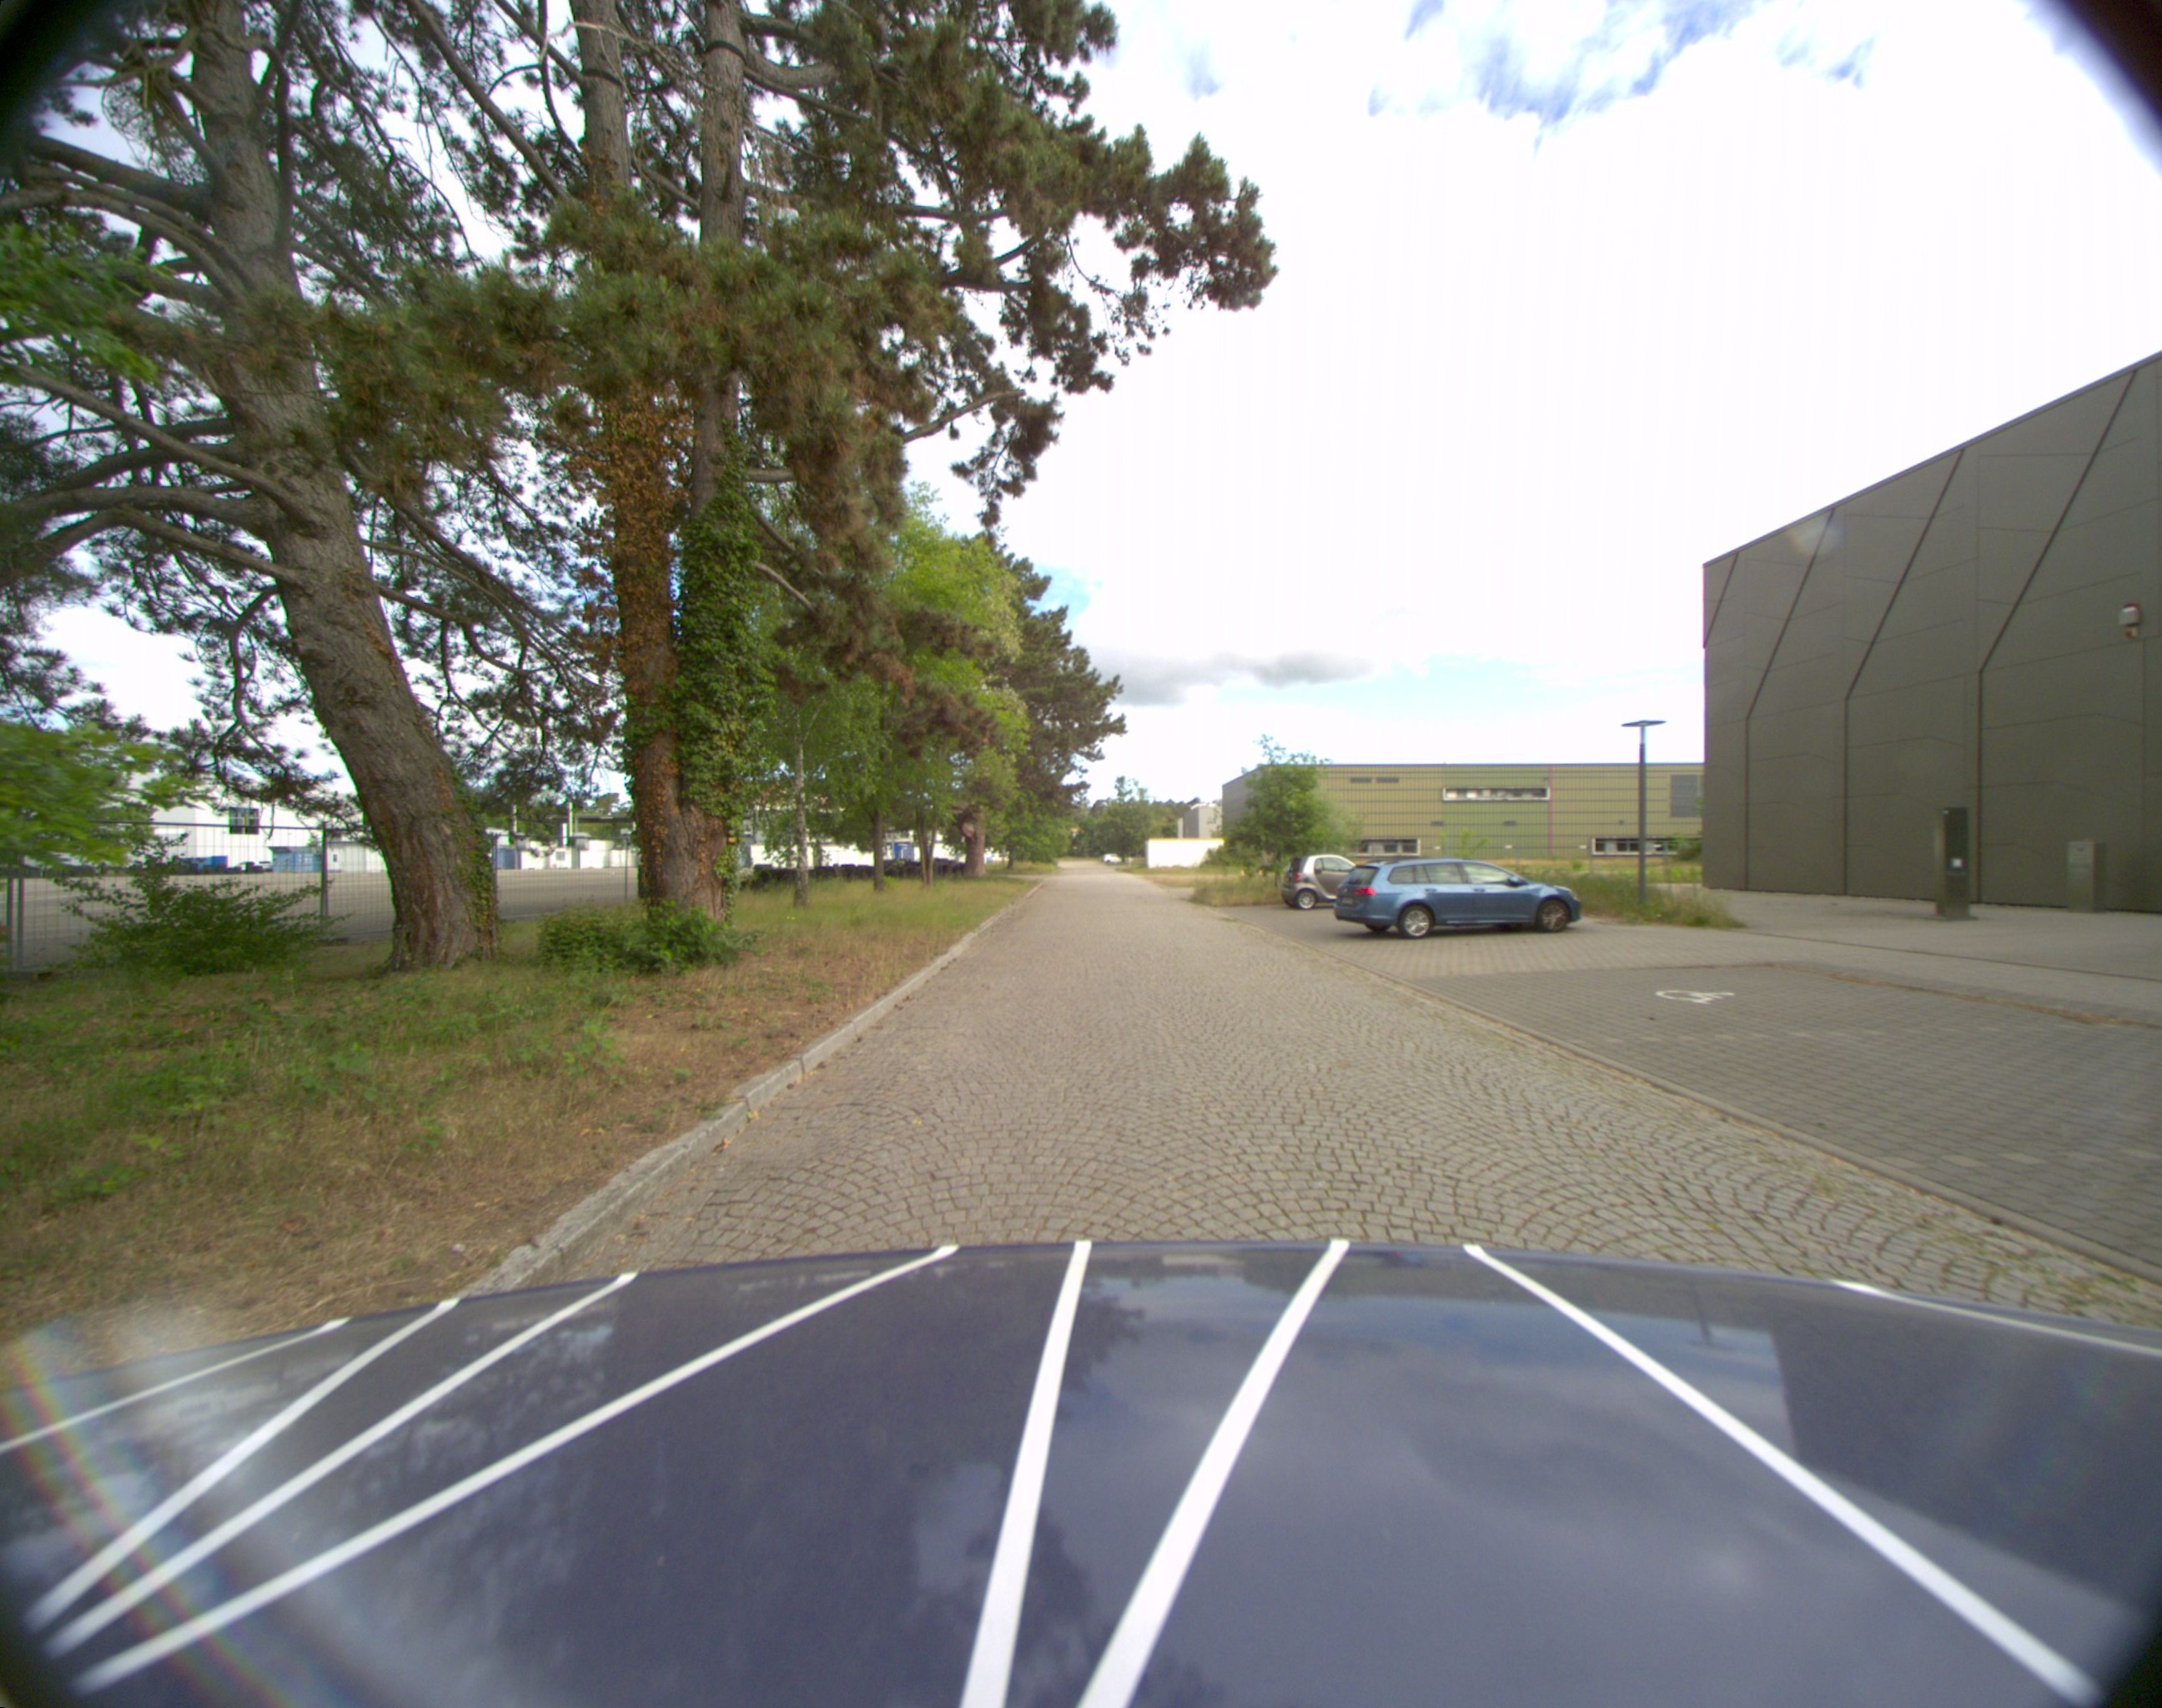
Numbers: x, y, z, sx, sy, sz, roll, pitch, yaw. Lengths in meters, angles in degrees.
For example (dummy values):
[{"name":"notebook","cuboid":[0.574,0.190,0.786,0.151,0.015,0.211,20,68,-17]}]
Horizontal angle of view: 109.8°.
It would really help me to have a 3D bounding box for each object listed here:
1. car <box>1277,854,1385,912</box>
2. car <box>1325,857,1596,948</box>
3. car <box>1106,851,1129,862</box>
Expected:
[{"name":"car","cuboid":[7.220,0.818,22.074,2.584,1.521,1.500,-2,1,-2]},{"name":"car","cuboid":[7.213,0.883,14.706,4.427,1.461,1.633,-2,1,-2]},{"name":"car","cuboid":[6.433,0.404,134.501,4.062,1.767,1.792,-1,1,-1]}]
